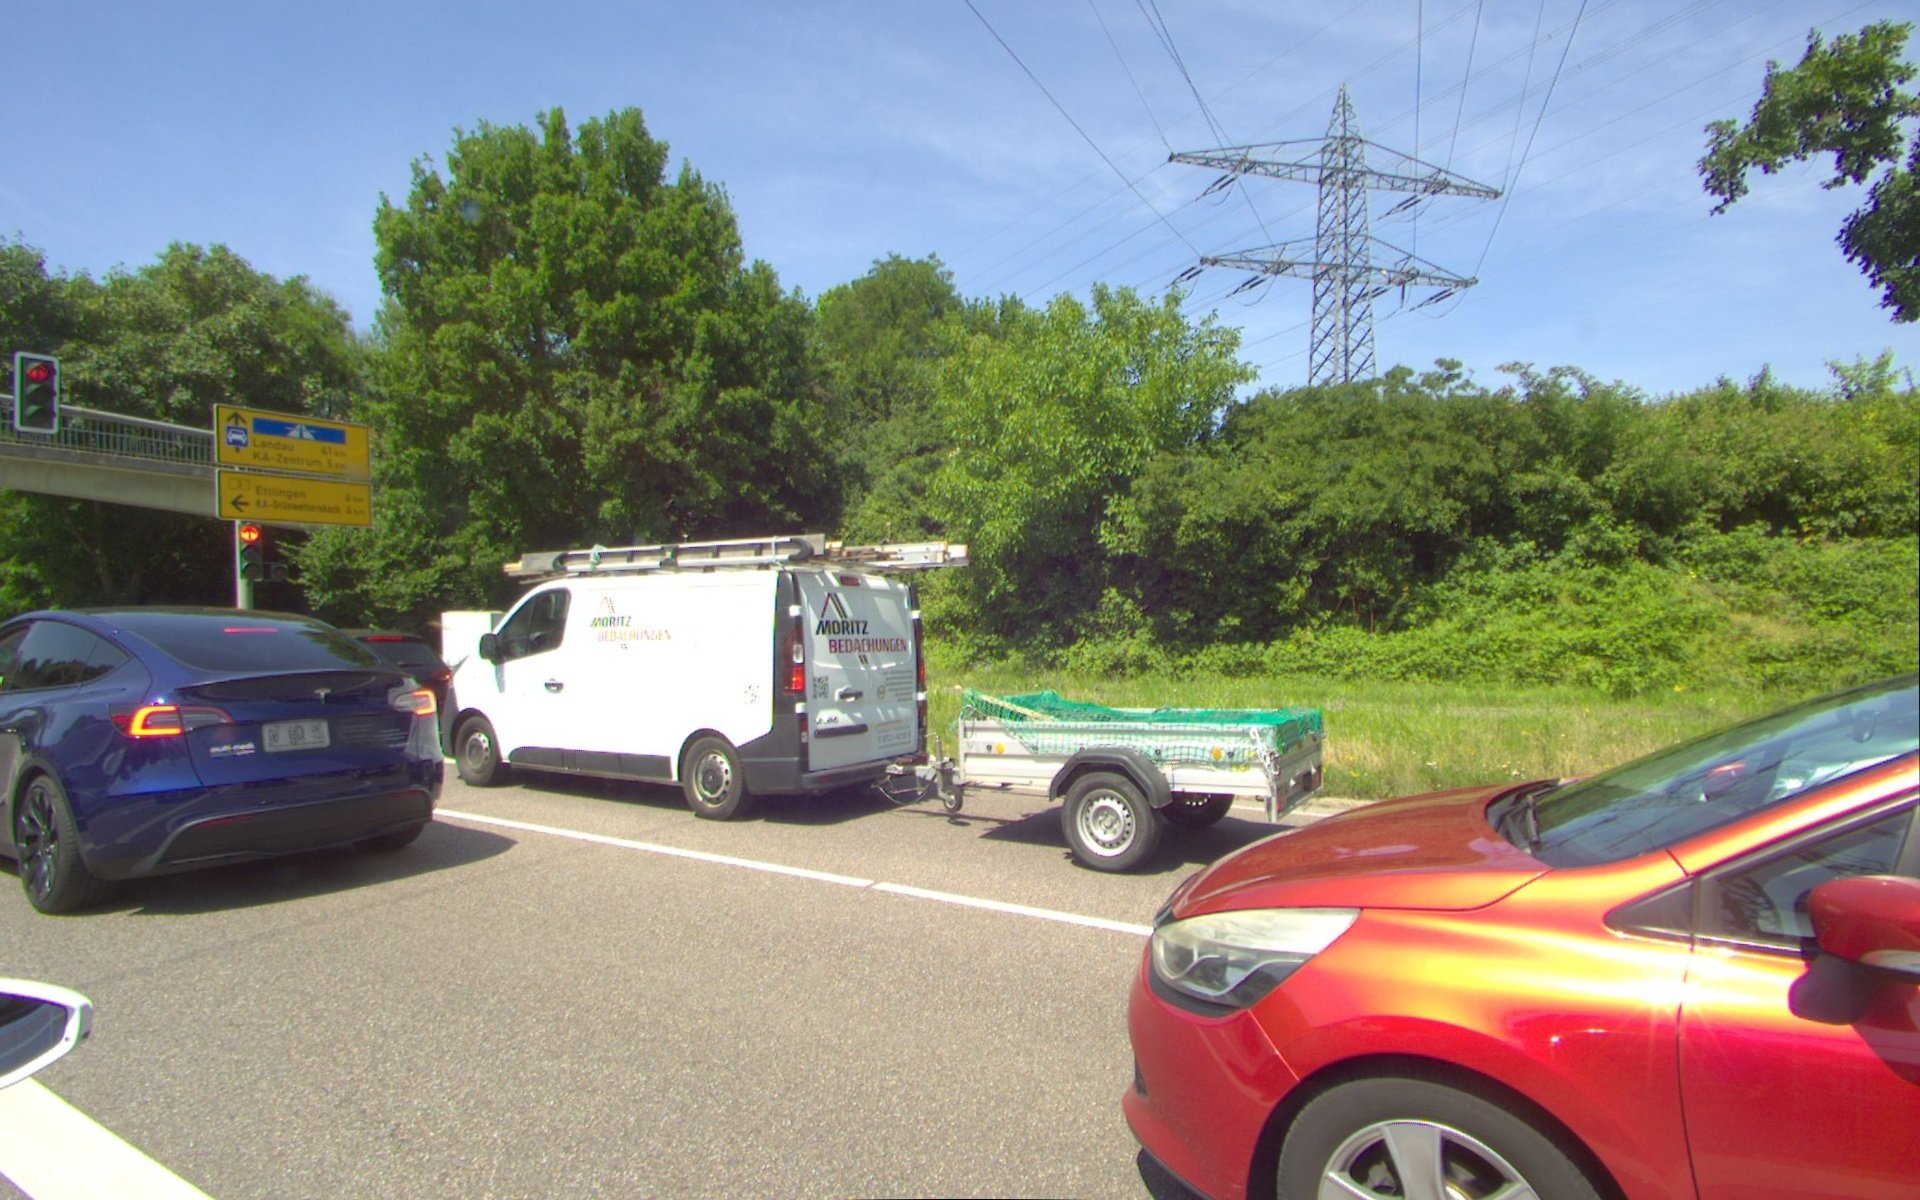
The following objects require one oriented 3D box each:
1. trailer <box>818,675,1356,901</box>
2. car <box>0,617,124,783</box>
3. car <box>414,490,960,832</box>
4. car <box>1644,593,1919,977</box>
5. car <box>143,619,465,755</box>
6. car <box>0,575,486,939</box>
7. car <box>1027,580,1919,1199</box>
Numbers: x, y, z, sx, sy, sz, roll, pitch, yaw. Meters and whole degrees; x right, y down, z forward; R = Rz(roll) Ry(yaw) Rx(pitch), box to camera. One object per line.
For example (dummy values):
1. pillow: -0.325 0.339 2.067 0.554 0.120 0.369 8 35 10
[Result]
1. trailer: 0.834 1.113 6.881 3.276 1.019 1.703 -1 -1 32
2. car: -10.358 0.926 10.075 3.882 1.497 1.897 -1 -2 32
3. car: -2.622 0.482 9.124 5.002 2.379 1.929 -1 -1 32
4. car: 5.494 0.775 4.333 4.105 1.616 1.761 -1 0 32
5. car: -8.580 1.011 13.016 4.318 1.497 1.897 -1 -2 32
6. car: -5.323 0.769 6.595 4.455 1.665 1.897 -1 -1 32
7. car: 2.304 0.728 1.988 4.006 1.480 1.740 -1 -2 32
